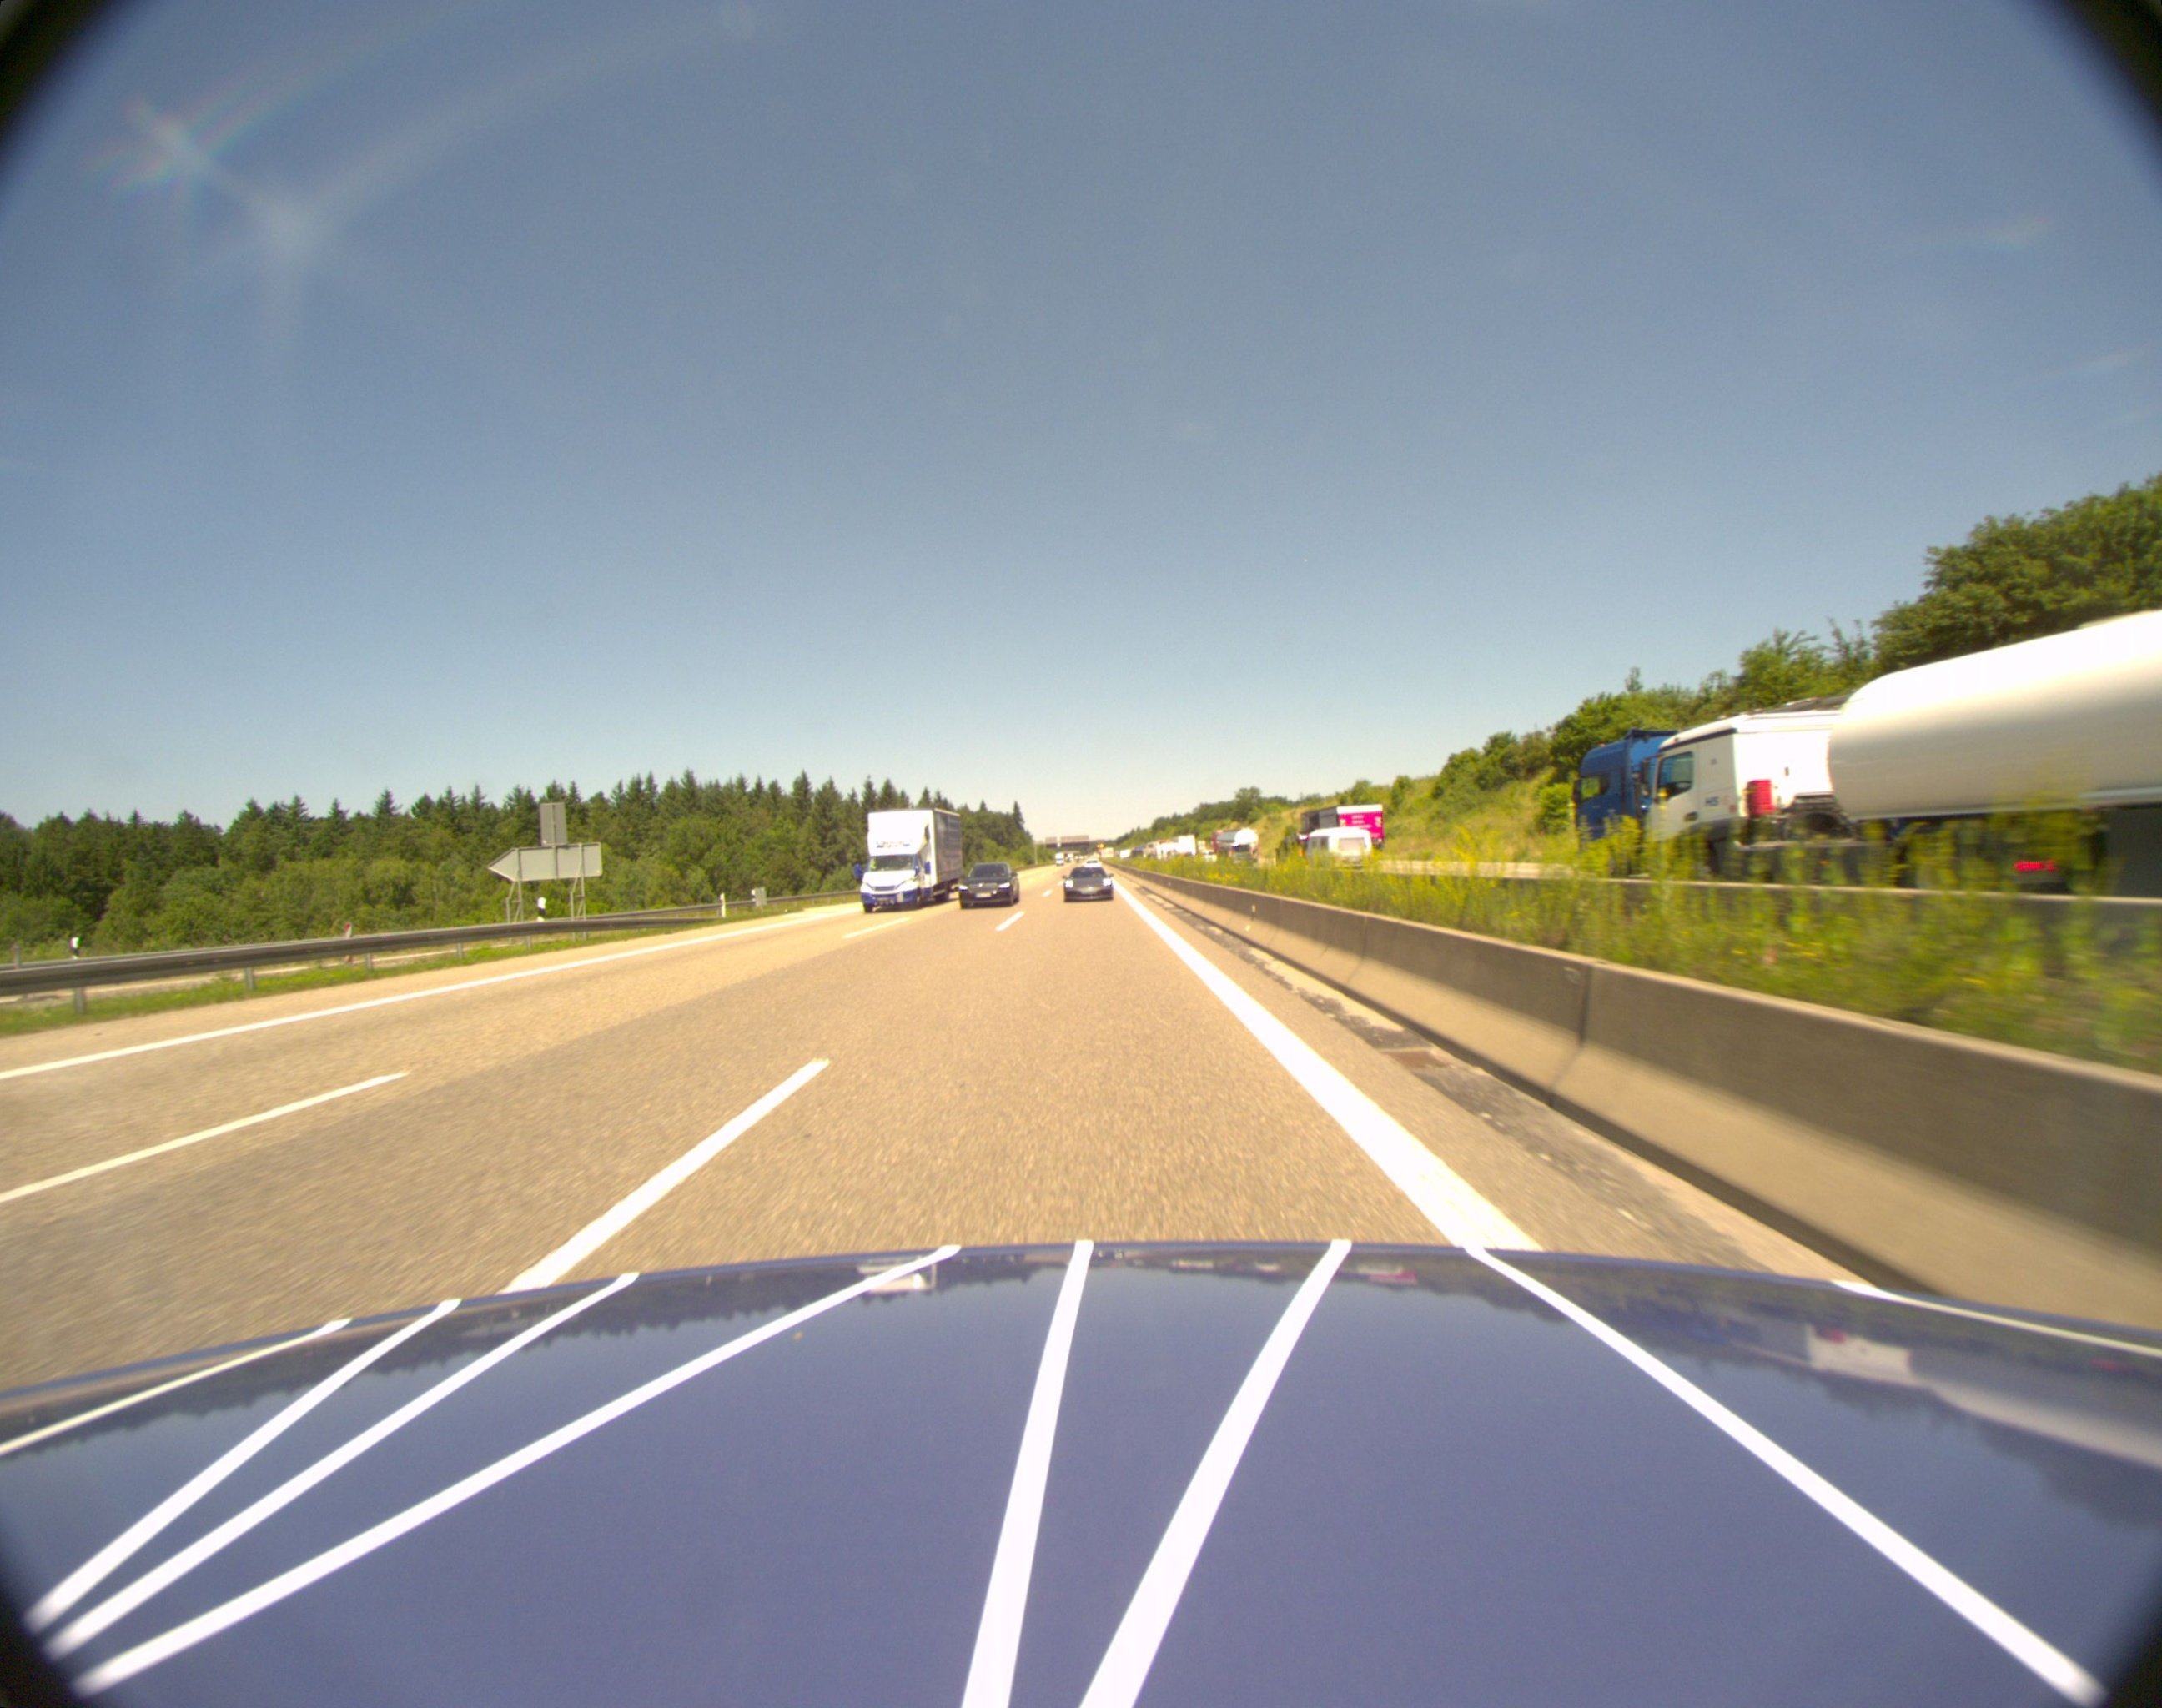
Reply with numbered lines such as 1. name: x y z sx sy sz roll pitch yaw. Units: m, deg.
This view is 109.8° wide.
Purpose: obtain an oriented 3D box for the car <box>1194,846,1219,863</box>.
1. car: 12.444 0.049 75.341 1.758 1.541 4.189 -3 0 1

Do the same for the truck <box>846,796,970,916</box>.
1. truck: -6.825 0.037 31.776 2.790 4.104 9.738 -3 0 -1

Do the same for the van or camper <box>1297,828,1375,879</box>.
1. van or camper: 11.830 -0.037 35.574 1.998 2.140 4.717 -3 0 0

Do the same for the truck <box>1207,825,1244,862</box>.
1. truck: 16.350 -1.213 86.257 2.790 3.801 6.032 -5 1 1

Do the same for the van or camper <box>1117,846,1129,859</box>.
1. van or camper: 9.263 -0.375 166.772 2.198 2.526 6.416 -4 0 0

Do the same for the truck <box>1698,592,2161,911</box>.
1. truck: 15.603 -1.370 10.698 3.587 4.069 12.580 -3 0 1

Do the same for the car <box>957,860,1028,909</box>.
1. car: -3.220 1.108 28.553 1.989 1.609 4.458 -3 -1 1

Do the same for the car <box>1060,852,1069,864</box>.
1. car: -4.659 1.094 214.363 2.303 3.317 7.621 -5 0 -1

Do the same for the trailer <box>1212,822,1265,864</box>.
1. trailer: 16.314 -1.102 79.849 2.686 3.927 12.273 -4 0 0

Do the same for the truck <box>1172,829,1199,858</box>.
1. truck: 16.980 -1.599 124.022 2.527 4.300 12.421 -5 0 1

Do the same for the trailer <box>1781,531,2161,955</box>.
1. trailer: 11.383 -1.061 5.028 2.686 3.926 11.645 -1 0 0

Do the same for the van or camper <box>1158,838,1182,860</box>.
1. van or camper: 12.821 -0.705 110.178 2.551 2.920 8.131 -4 0 2

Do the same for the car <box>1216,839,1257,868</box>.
1. car: 11.823 -0.055 58.005 2.028 1.946 5.094 -4 0 1

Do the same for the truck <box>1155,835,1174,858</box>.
1. truck: 16.771 -1.528 152.437 2.596 4.300 7.292 -5 1 0

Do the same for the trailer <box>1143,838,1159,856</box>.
1. trailer: 17.572 -1.781 191.714 2.796 4.216 10.792 -5 0 1

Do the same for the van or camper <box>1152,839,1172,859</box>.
1. van or camper: 12.916 -0.773 121.388 2.551 2.920 7.828 -4 0 2

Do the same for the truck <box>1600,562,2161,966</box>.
1. truck: 11.387 -0.938 11.003 2.624 3.867 7.402 -3 1 1

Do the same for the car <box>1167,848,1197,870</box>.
1. car: 8.148 0.367 61.751 1.758 1.574 4.854 -4 0 1

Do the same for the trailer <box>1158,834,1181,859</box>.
1. trailer: 16.806 -1.460 145.453 2.618 4.285 11.999 -5 0 0

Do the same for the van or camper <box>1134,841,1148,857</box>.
1. van or camper: 13.376 -1.174 169.188 2.318 3.370 7.679 -4 0 0

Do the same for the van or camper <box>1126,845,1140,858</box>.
1. van or camper: 13.257 -0.605 195.546 2.848 2.931 8.112 -5 0 1

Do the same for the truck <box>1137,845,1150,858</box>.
1. truck: 13.421 -0.502 163.480 2.240 2.491 6.861 -4 0 0

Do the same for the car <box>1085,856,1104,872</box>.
1. car: 1.330 1.047 77.610 1.719 1.431 4.456 -4 0 -1

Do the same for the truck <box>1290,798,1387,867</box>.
1. truck: 15.723 -1.218 47.299 2.551 3.653 9.937 -4 0 1

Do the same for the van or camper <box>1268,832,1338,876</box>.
1. van or camper: 11.852 -0.020 41.014 1.998 2.140 5.954 -3 0 0

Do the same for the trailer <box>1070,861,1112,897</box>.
1. trailer: 0.442 1.031 32.964 1.689 1.399 3.046 -3 0 1

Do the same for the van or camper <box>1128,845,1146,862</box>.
1. van or camper: 9.026 -0.078 122.908 2.303 2.420 7.283 -4 0 0

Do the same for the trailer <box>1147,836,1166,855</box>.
1. trailer: 16.947 -1.877 170.541 2.788 4.010 12.250 -5 0 1

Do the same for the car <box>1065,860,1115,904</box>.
1. car: 0.382 1.046 29.703 1.718 1.431 4.457 -3 0 1

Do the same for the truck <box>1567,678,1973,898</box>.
1. truck: 15.681 -1.312 18.257 3.499 4.013 6.643 -5 1 1
